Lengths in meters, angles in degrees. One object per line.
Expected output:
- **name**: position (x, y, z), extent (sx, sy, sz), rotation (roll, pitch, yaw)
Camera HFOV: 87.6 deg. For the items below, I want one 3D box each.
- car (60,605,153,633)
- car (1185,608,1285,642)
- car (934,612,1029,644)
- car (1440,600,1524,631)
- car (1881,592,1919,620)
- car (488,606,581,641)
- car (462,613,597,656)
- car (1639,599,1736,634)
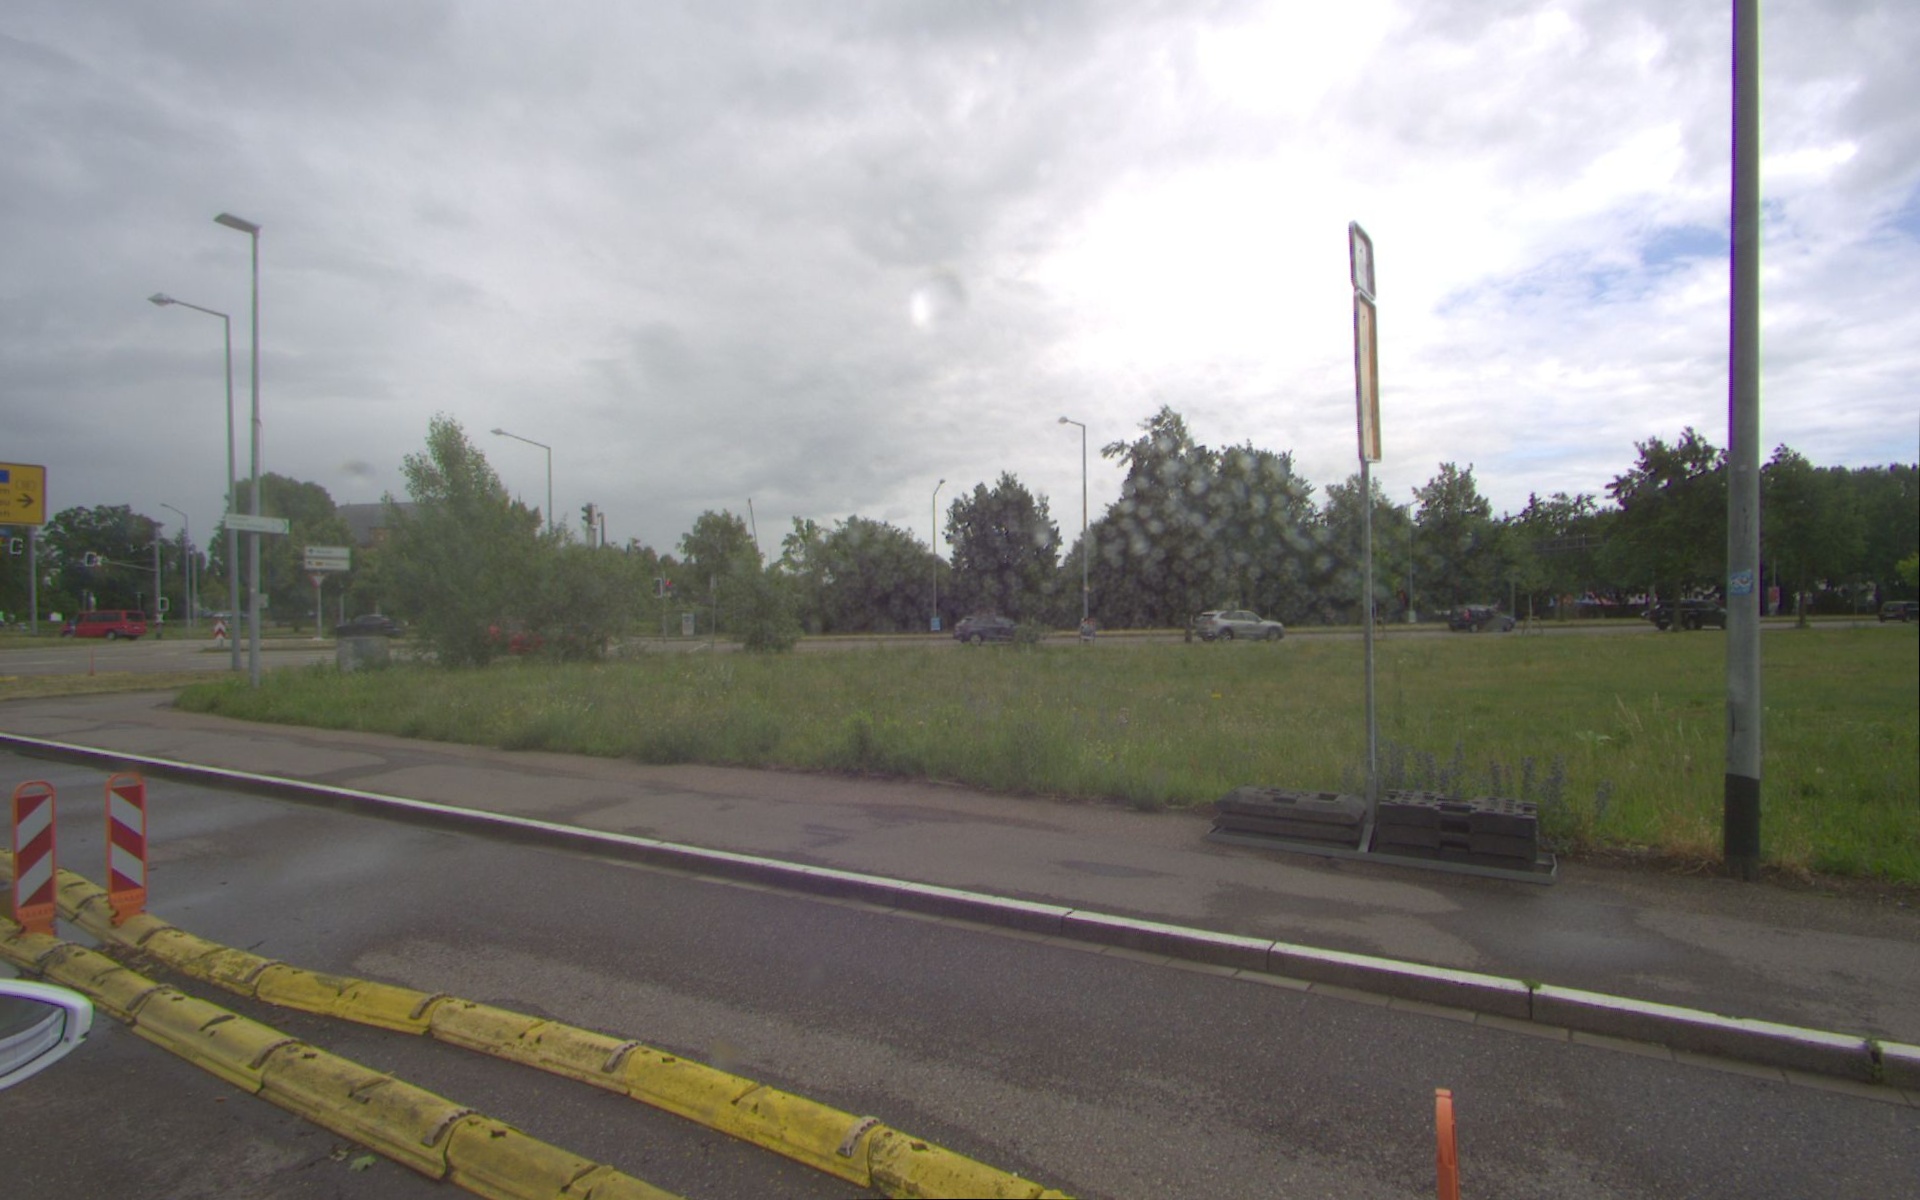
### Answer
- **car**: position (-59.477, 1.323, 69.837), extent (4.795, 1.943, 2.115), rotation (0, 0, 3)
- **car**: position (13.535, 1.222, 49.329), extent (4.453, 1.604, 1.996), rotation (0, 0, -18)
- **car**: position (1.005, 1.351, 48.575), extent (4.242, 1.483, 1.998), rotation (0, 0, -13)
- **car**: position (31.577, 0.934, 60.626), extent (4.131, 1.837, 2.075), rotation (0, 0, -13)
- **car**: position (65.846, 0.398, 68.786), extent (3.927, 1.873, 1.997), rotation (0, 0, -14)
- **car**: position (-25.696, 1.398, 60.622), extent (4.849, 2.040, 1.998), rotation (0, 0, -12)
- **car**: position (-16.073, 1.228, 37.492), extent (4.307, 1.483, 1.984), rotation (0, 0, -39)
- **car**: position (43.968, 0.973, 60.506), extent (4.953, 1.998, 2.219), rotation (0, 0, -17)
